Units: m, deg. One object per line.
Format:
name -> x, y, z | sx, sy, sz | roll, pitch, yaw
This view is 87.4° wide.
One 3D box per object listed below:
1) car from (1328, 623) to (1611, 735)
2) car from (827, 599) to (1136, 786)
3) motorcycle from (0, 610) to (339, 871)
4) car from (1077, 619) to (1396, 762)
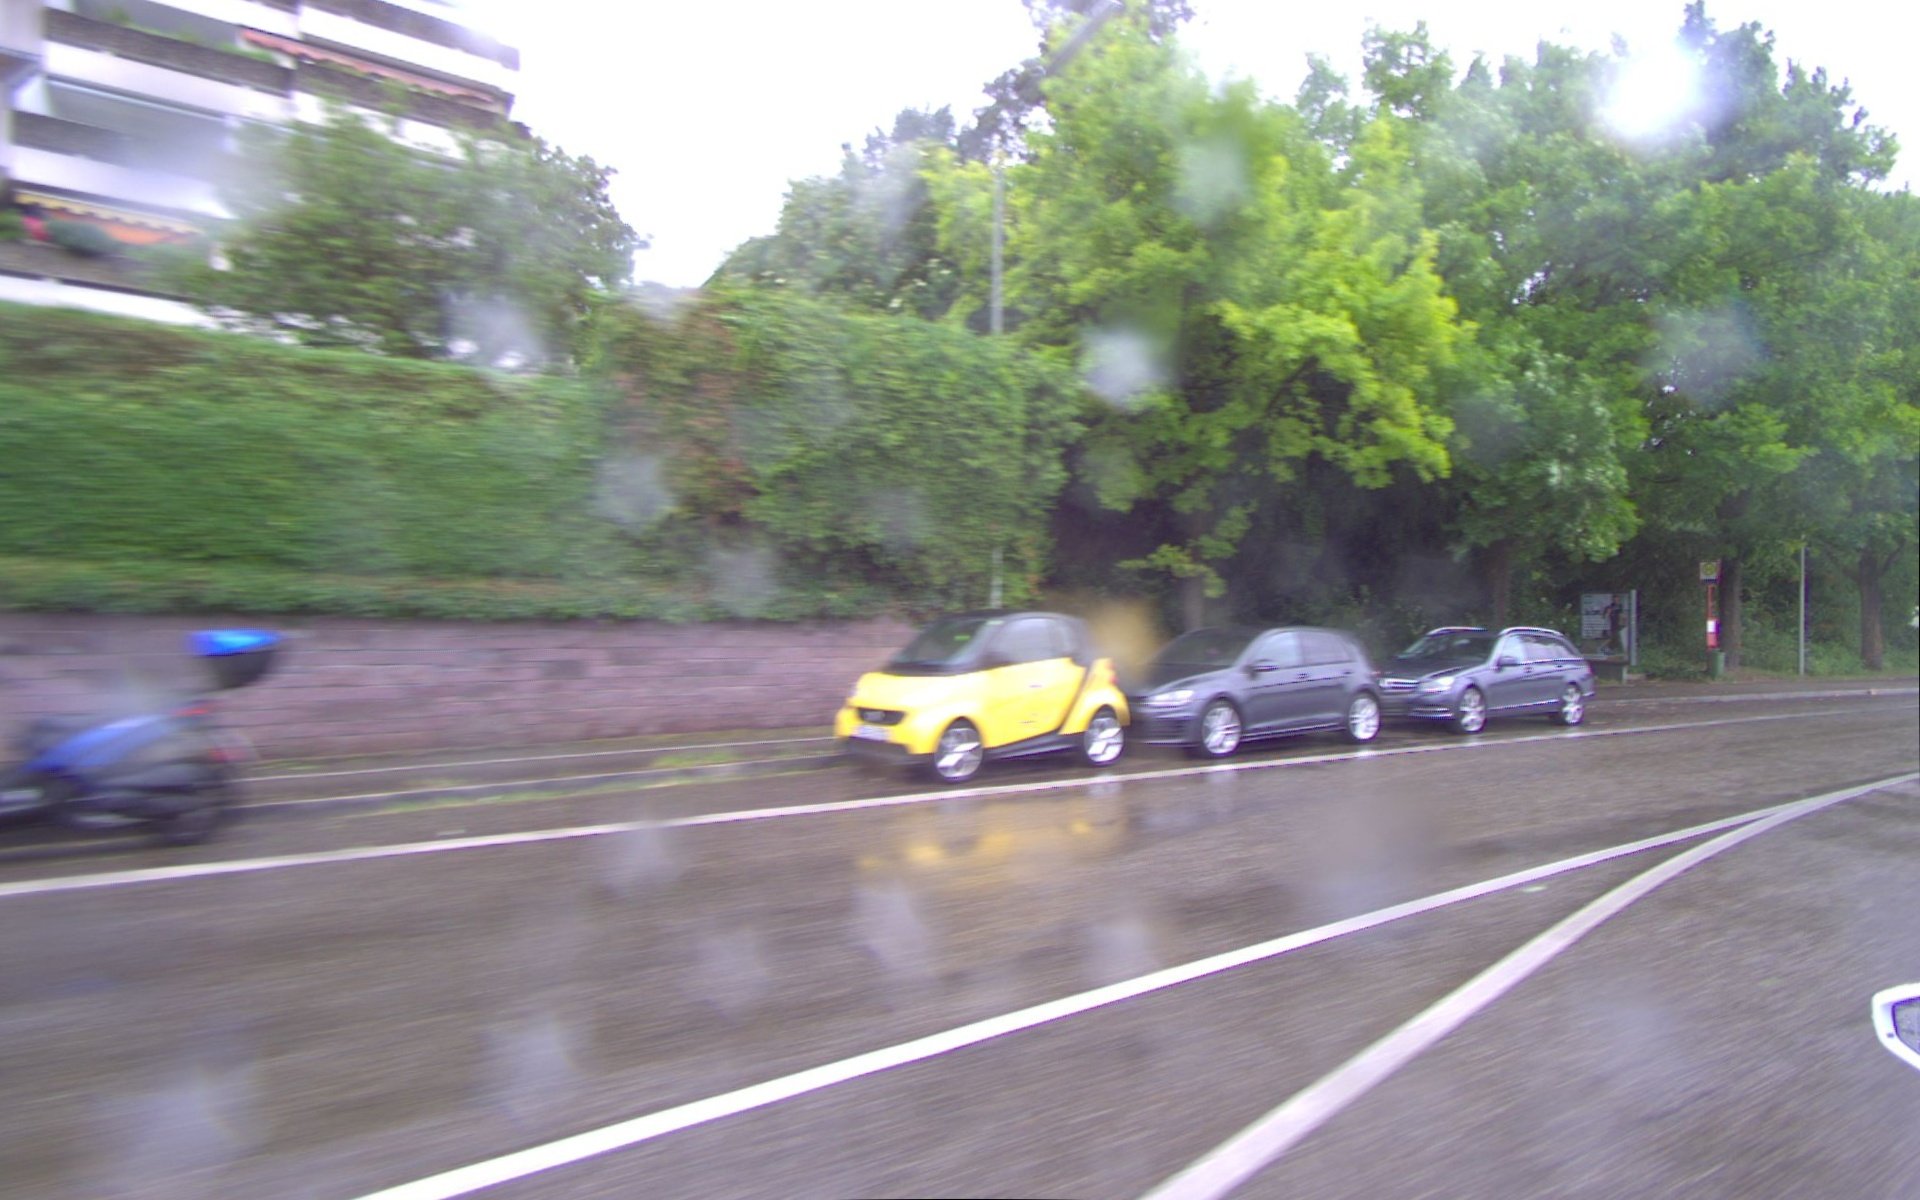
car -> 7.656, 1.092, 14.919 | 4.691, 1.438, 1.677 | 2, -2, -34
car -> 0.267, 0.823, 9.838 | 2.796, 1.557, 1.421 | 2, -2, -40
motorcycle -> -5.052, 0.745, 5.732 | 2.477, 1.359, 0.831 | 2, -2, -38
car -> 3.367, 0.973, 11.866 | 4.065, 1.438, 1.423 | 2, -2, -36
